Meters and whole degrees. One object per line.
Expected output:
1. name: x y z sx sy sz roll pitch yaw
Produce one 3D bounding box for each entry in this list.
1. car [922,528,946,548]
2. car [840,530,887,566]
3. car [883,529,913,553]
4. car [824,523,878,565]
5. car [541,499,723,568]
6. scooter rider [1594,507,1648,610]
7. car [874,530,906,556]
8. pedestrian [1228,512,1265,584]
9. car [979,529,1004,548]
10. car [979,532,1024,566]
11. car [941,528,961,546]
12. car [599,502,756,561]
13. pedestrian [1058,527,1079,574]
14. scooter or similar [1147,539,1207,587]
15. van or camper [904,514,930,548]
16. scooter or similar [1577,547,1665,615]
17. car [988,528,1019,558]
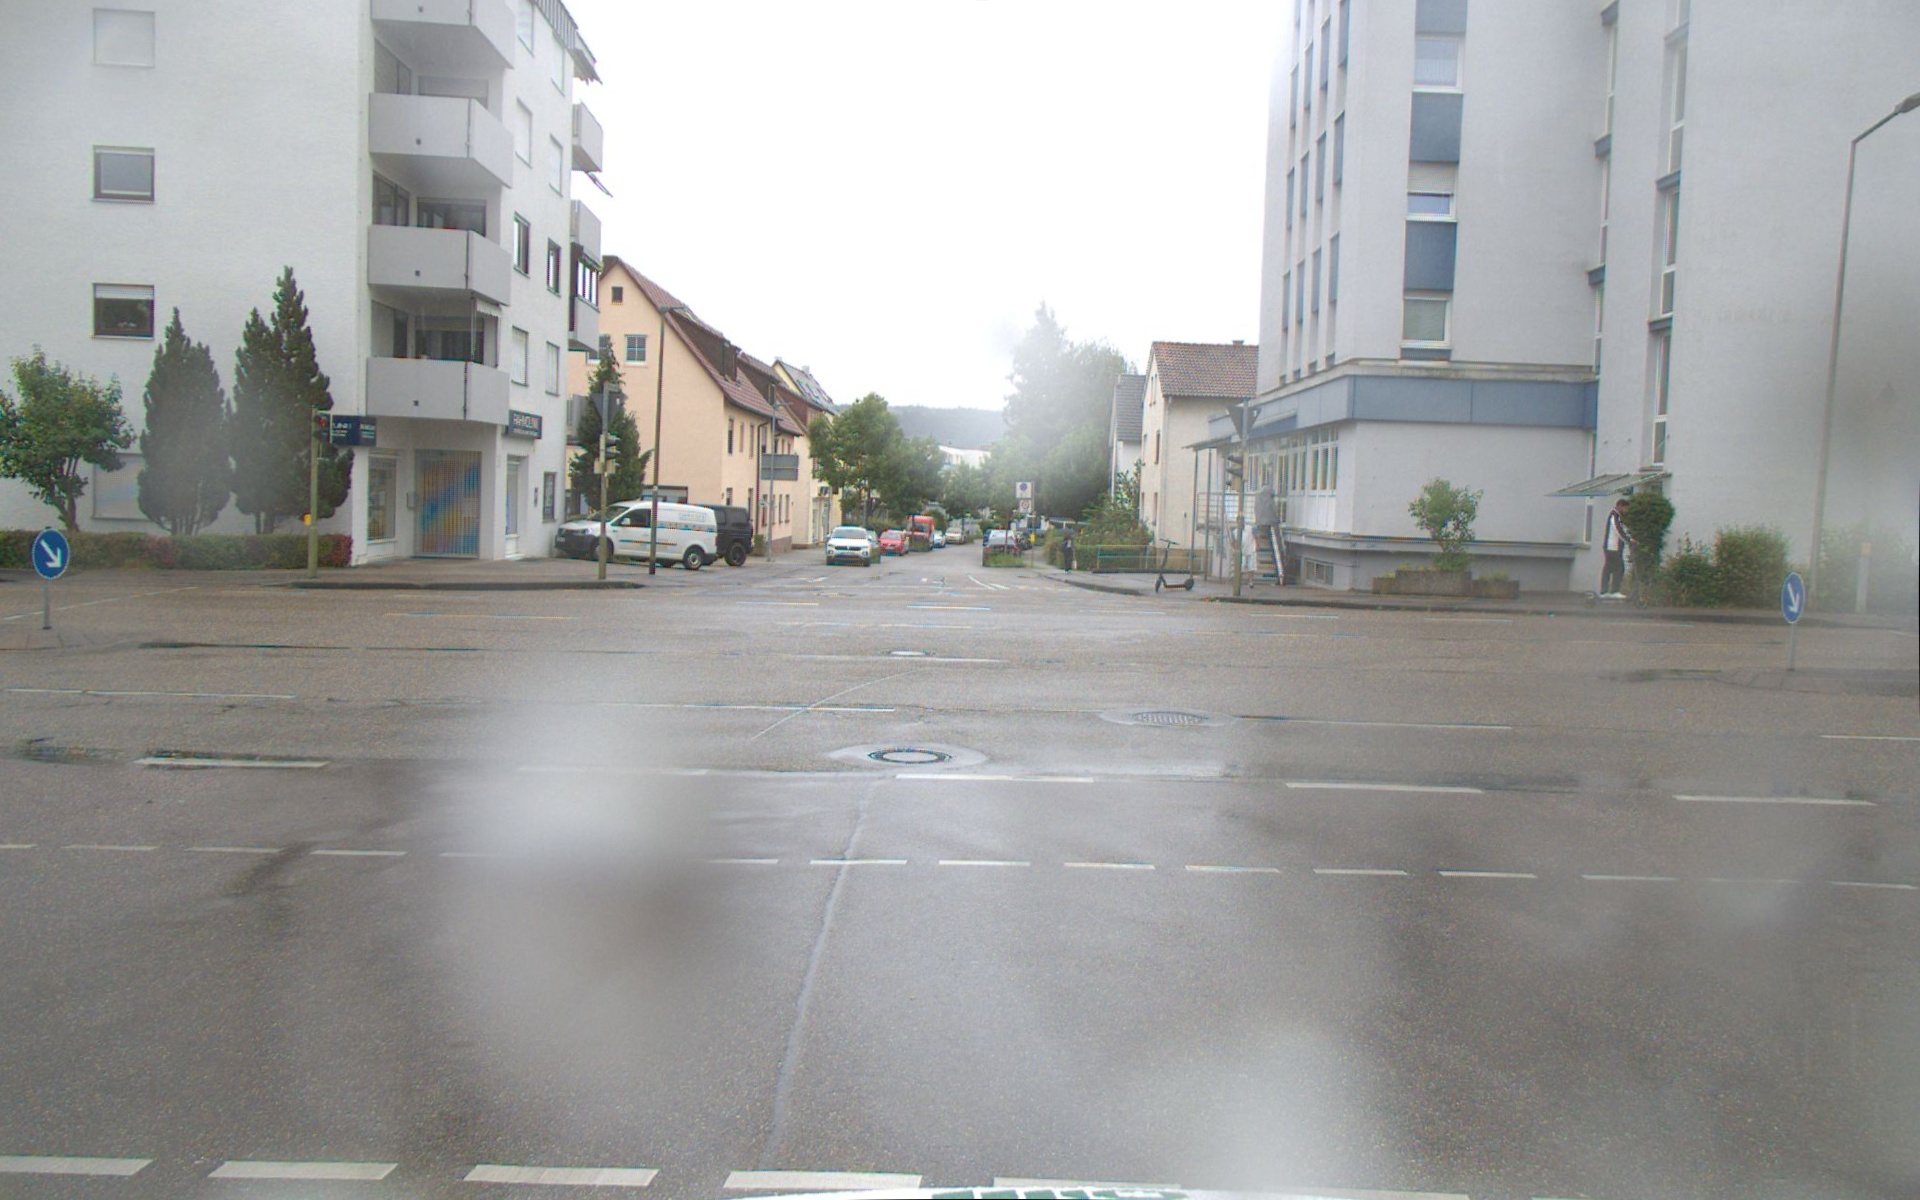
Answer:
1. car: -2.152 -5.180 138.589 1.862 1.586 4.192 0 2 0
2. car: -4.590 -2.506 79.289 1.953 1.654 4.192 0 2 0
3. car: -4.240 -3.998 112.745 1.862 1.586 4.192 0 2 0
4. car: -4.438 -2.291 67.887 1.953 1.654 4.192 0 2 0
5. car: -9.349 -1.871 47.390 4.796 1.867 1.972 -1 2 -39
6. scooter rider: 11.958 -0.754 29.931 0.661 1.827 0.749 2 2 44
7. car: -4.394 -3.595 104.338 1.862 1.586 4.192 0 2 0
8. pedestrian: 6.853 -1.236 39.541 0.635 1.675 0.525 4 1 -7
9. car: 2.848 -5.594 150.990 1.951 1.713 4.004 1 2 6
10. car: 2.004 -2.527 81.550 2.102 1.616 4.129 0 2 0
11. car: -0.814 -5.866 154.598 1.862 1.586 4.192 0 2 0
12. car: -9.263 -2.219 54.444 4.796 1.867 1.972 -1 2 -39
13. pedestrian: 4.448 -2.035 68.009 0.730 1.880 0.526 4 1 3
14. scooter or similar: 5.068 -0.862 38.675 1.243 1.100 0.876 0 2 -5
15. van or camper: -3.276 -5.233 126.516 1.862 2.557 4.239 0 2 0
16. scooter or similar: 11.957 -0.363 29.914 1.291 1.192 0.754 2 2 43
17. car: 2.691 -3.570 103.701 1.862 1.775 4.192 0 2 0
